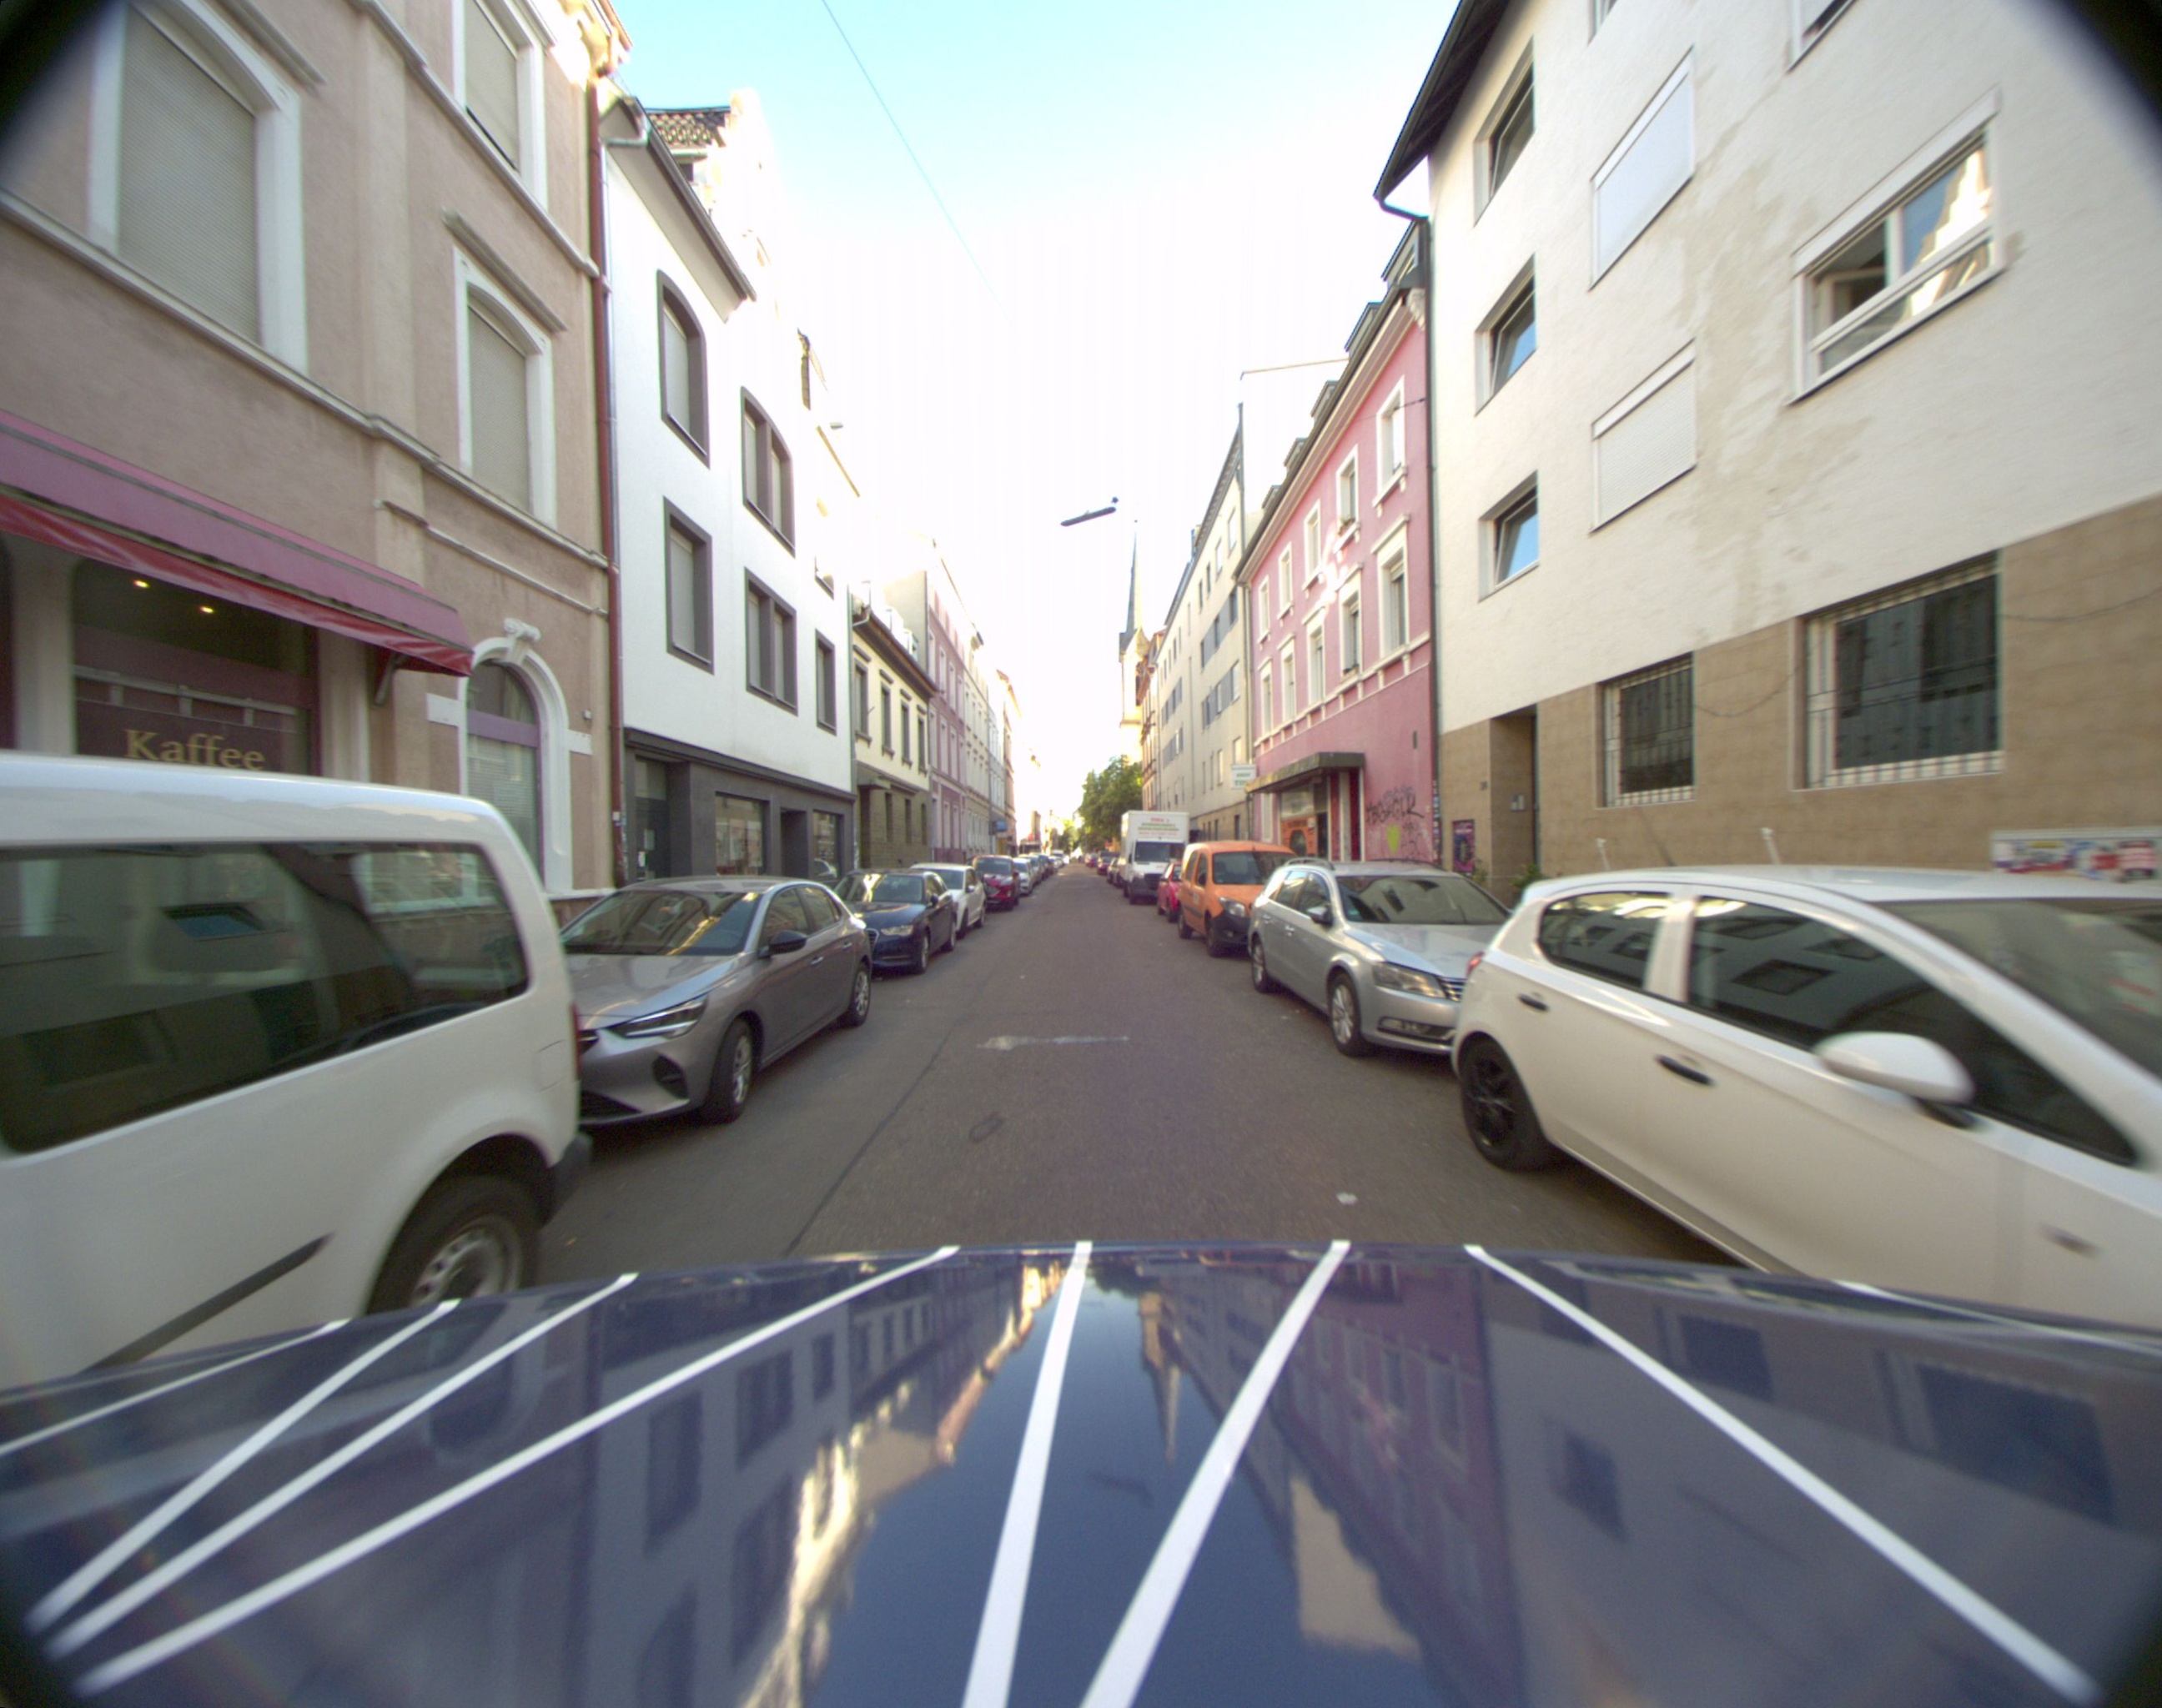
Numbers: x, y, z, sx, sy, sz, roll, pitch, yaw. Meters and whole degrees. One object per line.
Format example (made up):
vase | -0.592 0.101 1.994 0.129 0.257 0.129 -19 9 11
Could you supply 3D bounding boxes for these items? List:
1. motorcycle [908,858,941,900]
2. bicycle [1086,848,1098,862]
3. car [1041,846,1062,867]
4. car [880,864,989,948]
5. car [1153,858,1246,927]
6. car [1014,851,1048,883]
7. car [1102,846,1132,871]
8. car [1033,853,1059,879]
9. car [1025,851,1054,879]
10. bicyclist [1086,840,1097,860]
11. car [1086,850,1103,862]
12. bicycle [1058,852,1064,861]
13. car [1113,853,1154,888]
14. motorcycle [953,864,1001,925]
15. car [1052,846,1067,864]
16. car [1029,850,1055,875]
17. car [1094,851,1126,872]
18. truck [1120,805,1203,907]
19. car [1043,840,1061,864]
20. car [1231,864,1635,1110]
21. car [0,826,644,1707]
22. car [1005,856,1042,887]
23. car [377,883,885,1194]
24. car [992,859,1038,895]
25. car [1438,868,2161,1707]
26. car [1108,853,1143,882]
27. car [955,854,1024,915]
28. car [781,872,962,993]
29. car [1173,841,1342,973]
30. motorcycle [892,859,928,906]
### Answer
motorcycle | -5.455 0.848 26.599 0.697 1.388 2.037 -2 1 -1
bicycle | 1.309 0.103 92.015 1.020 1.641 3.546 -2 1 -5
car | -3.047 0.269 77.295 1.999 2.002 4.562 -2 1 -4
car | -3.002 1.012 16.262 1.620 1.495 3.772 0 1 -1
car | 2.822 0.875 18.839 1.687 1.458 3.659 0 1 -1
car | -2.860 0.704 43.887 1.713 1.721 4.219 0 1 -1
car | 3.112 0.347 65.969 1.999 2.002 4.562 -2 1 -4
car | -2.975 0.958 64.728 1.999 2.002 4.562 -2 1 -3
car | -2.731 0.691 50.597 1.713 1.721 4.219 0 1 -1
bicyclist | 1.253 -0.503 91.879 1.020 2.280 1.531 -2 1 -5
car | 1.801 0.315 104.781 1.927 1.522 4.562 -2 1 -4
bicycle | -2.763 0.320 104.657 0.729 1.173 2.488 -2 1 -3
car | 2.535 0.769 37.391 1.687 1.579 3.913 2 1 -1
motorcycle | -2.740 1.040 20.355 0.990 1.481 2.267 0 1 -1
car | -3.426 0.189 120.972 1.999 2.777 4.562 -2 1 -4
car | -2.849 0.590 55.953 1.713 1.802 4.219 0 1 -1
car | 2.233 0.546 59.785 1.927 1.522 4.562 -2 1 -4
truck | 2.671 0.018 27.092 2.296 3.165 7.044 0 1 1
car | -3.647 -0.259 94.913 1.999 2.777 4.562 -2 1 -4
car | 2.737 0.902 7.212 1.678 1.488 4.530 0 1 -1
car | -2.556 0.858 0.754 1.753 1.806 4.369 0 1 -1
car | -2.897 0.850 38.865 1.613 1.444 3.880 0 1 -1
car | -2.790 1.019 5.821 1.613 1.400 3.880 0 1 -1
car | -2.749 0.930 32.339 1.613 1.388 3.881 0 1 -1
car | 2.726 0.871 2.045 1.681 1.546 3.817 0 1 -1
car | 2.479 0.726 43.271 1.687 1.482 3.913 2 1 -1
car | -2.824 0.898 24.290 1.713 1.721 4.407 0 1 -1
car | -2.961 1.045 11.591 1.736 1.388 3.880 0 1 -1
car | 2.731 0.716 12.740 1.807 1.834 4.243 0 1 -1
motorcycle | -5.456 0.873 24.372 0.667 1.388 2.037 -2 1 -1
